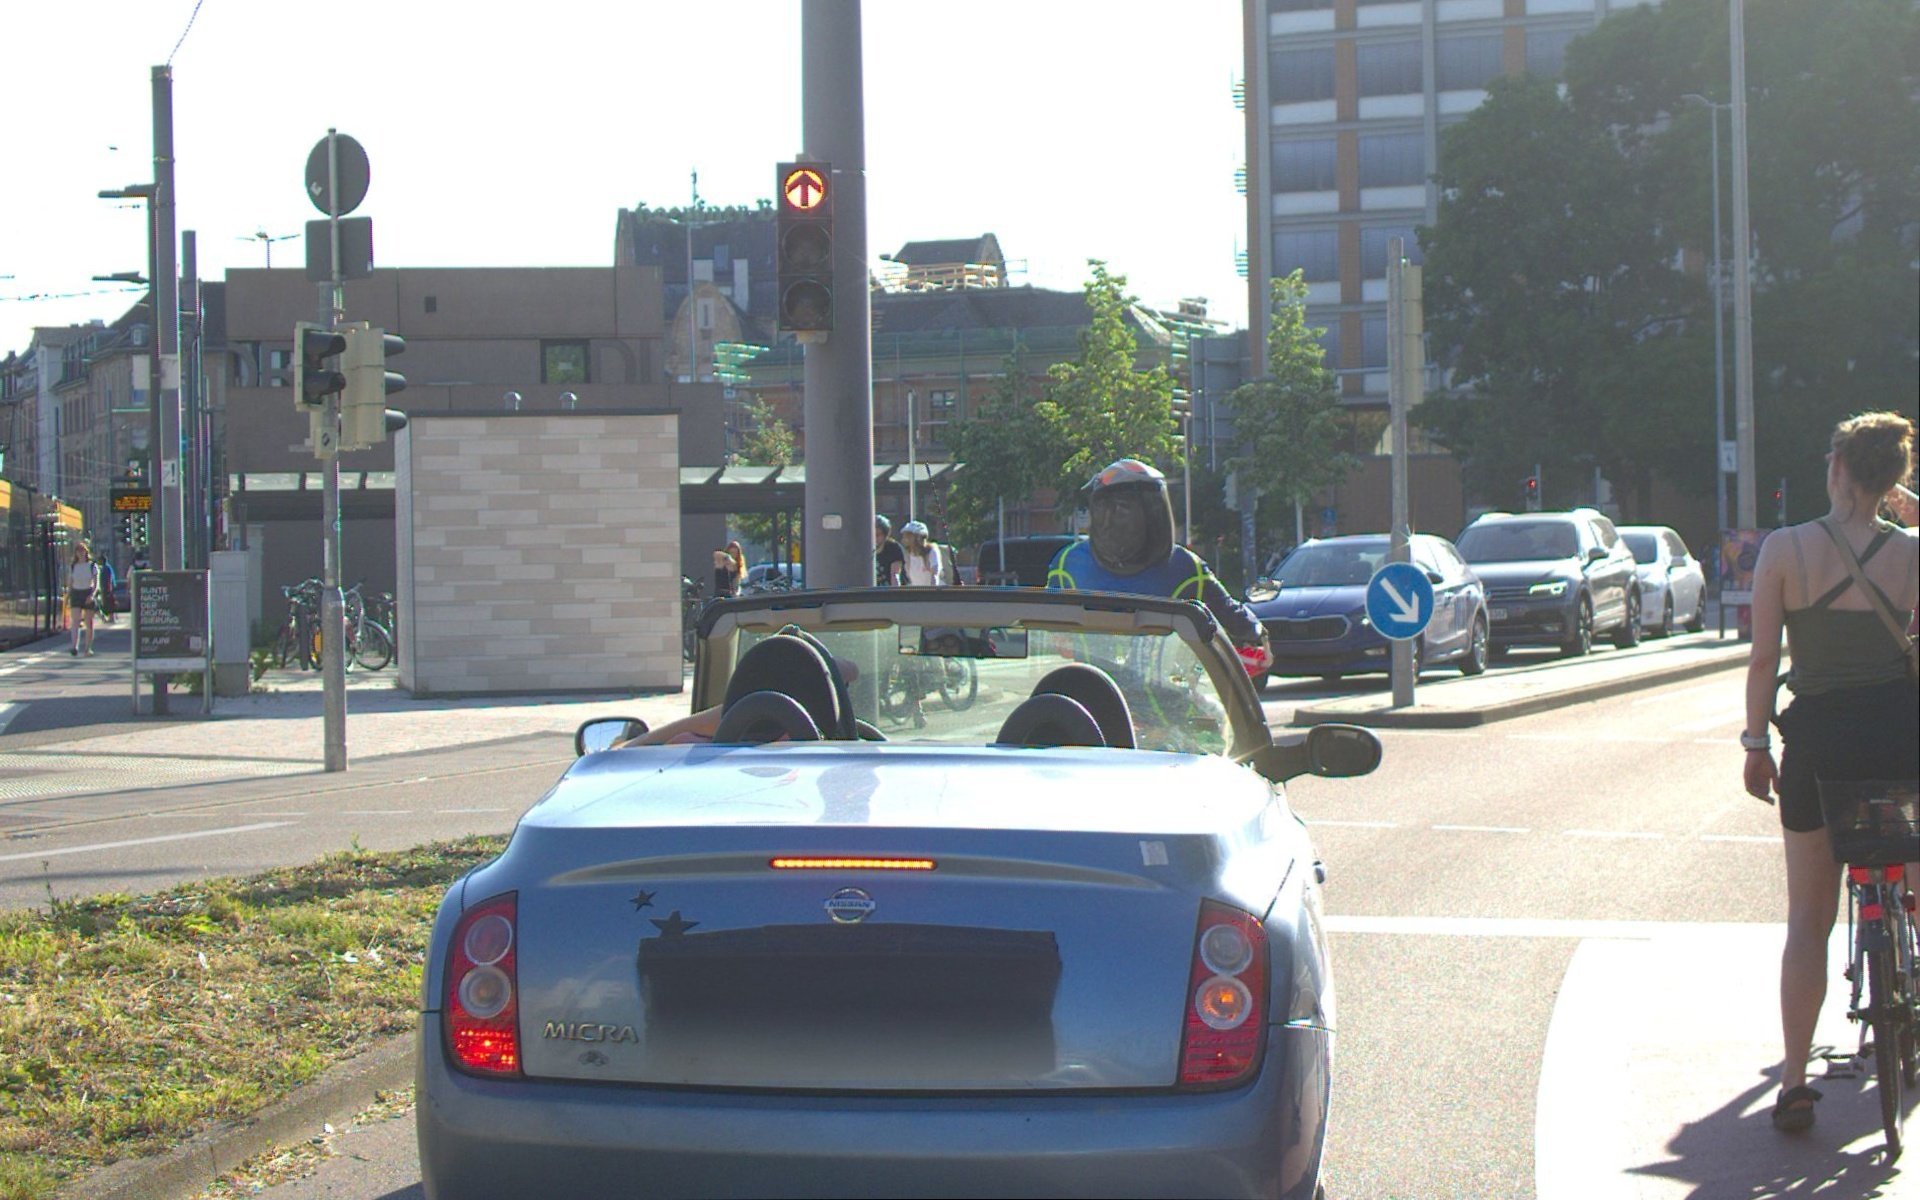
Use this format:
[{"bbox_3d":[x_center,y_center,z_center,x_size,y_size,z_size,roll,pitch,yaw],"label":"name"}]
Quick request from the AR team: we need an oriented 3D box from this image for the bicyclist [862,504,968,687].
[{"bbox_3d":[-0.408,-0.045,31.487,0.709,1.651,0.742,-1,1,22],"label":"bicyclist"}]

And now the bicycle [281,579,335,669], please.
[{"bbox_3d":[-8.365,0.301,44.069,0.606,1.111,1.897,1,1,-12],"label":"bicycle"}]

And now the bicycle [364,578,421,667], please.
[{"bbox_3d":[-7.339,0.278,44.400,0.606,1.111,1.897,1,1,-12],"label":"bicycle"}]

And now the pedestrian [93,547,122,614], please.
[{"bbox_3d":[-22.295,-0.513,89.925,0.604,1.743,0.832,-1,1,-8],"label":"pedestrian"}]

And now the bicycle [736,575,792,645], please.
[{"bbox_3d":[-3.246,0.158,56.748,0.606,1.111,1.897,1,1,-12],"label":"bicycle"}]

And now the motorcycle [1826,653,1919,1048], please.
[{"bbox_3d":[3.173,0.746,11.079,0.614,1.094,2.358,1,1,17],"label":"motorcycle"}]

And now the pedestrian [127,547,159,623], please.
[{"bbox_3d":[-19.073,-0.352,80.244,0.637,1.743,0.736,-1,1,-19],"label":"pedestrian"}]

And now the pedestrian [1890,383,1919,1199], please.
[{"bbox_3d":[2.489,0.457,7.396,0.806,1.862,0.956,1,0,8],"label":"pedestrian"}]

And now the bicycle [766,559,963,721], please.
[{"bbox_3d":[-0.773,0.314,28.851,0.675,1.246,2.454,-3,0,22],"label":"bicycle"}]

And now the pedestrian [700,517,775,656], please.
[{"bbox_3d":[-3.034,-0.184,46.760,0.900,1.862,0.687,1,0,-12],"label":"pedestrian"}]

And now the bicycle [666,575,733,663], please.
[{"bbox_3d":[-3.430,0.237,45.122,0.606,1.111,1.897,1,1,-12],"label":"bicycle"}]

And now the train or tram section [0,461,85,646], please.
[{"bbox_3d":[-20.508,-0.991,72.669,3.011,3.584,12.203,1,1,-10],"label":"train or tram section"}]

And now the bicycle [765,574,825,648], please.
[{"bbox_3d":[-2.561,0.163,53.242,0.606,1.111,1.897,1,1,-12],"label":"bicycle"}]

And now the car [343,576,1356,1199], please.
[{"bbox_3d":[0.033,0.678,7.692,1.660,1.436,4.153,1,1,6],"label":"car"}]

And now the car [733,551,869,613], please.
[{"bbox_3d":[-4.121,-0.456,88.687,1.640,1.555,3.599,-2,1,-39],"label":"car"}]

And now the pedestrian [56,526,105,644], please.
[{"bbox_3d":[-13.195,-0.231,51.564,0.637,1.743,0.572,-1,1,-19],"label":"pedestrian"}]

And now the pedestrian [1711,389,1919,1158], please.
[{"bbox_3d":[2.287,0.415,8.783,0.659,1.862,0.872,1,0,15],"label":"pedestrian"}]

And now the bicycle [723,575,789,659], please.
[{"bbox_3d":[-2.807,0.225,47.195,0.606,1.111,1.897,1,1,-12],"label":"bicycle"}]

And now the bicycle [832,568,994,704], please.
[{"bbox_3d":[-0.407,0.311,31.465,0.675,1.176,2.181,-1,1,22],"label":"bicycle"}]

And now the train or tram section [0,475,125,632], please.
[{"bbox_3d":[-22.576,-1.139,84.596,3.039,3.584,12.055,1,1,-9],"label":"train or tram section"}]

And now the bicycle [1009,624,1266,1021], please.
[{"bbox_3d":[0.658,0.700,11.901,0.608,1.187,2.414,1,1,9],"label":"bicycle"}]

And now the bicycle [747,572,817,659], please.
[{"bbox_3d":[-2.356,0.192,45.263,0.606,1.111,1.897,1,1,-12],"label":"bicycle"}]

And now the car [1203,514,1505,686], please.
[{"bbox_3d":[3.915,-0.013,33.632,1.739,1.568,3.919,1,1,25],"label":"car"}]

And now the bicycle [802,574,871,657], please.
[{"bbox_3d":[-1.720,0.204,47.583,0.606,1.111,1.897,1,1,-12],"label":"bicycle"}]

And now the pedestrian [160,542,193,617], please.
[{"bbox_3d":[-18.446,-0.482,80.912,0.637,1.743,0.736,-1,1,-19],"label":"pedestrian"}]

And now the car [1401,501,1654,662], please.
[{"bbox_3d":[6.623,-0.241,39.747,1.763,1.700,4.525,-2,0,24],"label":"car"}]

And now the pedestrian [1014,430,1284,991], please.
[{"bbox_3d":[0.673,0.361,11.964,0.833,1.862,0.920,1,0,8],"label":"pedestrian"}]

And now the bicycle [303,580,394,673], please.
[{"bbox_3d":[-7.545,0.318,42.465,0.607,1.111,1.896,1,1,5],"label":"bicycle"}]

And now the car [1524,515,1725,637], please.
[{"bbox_3d":[9.001,-0.346,46.329,1.697,1.555,3.974,-1,1,25],"label":"car"}]

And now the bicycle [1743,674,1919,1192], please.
[{"bbox_3d":[2.368,0.798,8.976,0.564,1.147,1.948,1,1,14],"label":"bicycle"}]

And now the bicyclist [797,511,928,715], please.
[{"bbox_3d":[-0.813,0.099,28.780,0.709,1.651,0.900,-3,0,22],"label":"bicyclist"}]

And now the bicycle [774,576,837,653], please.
[{"bbox_3d":[-2.312,0.208,51.271,0.606,1.111,1.897,1,1,-12],"label":"bicycle"}]

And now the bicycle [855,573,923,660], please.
[{"bbox_3d":[-0.946,0.208,45.566,0.606,1.111,1.897,1,1,-10],"label":"bicycle"}]

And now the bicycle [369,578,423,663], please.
[{"bbox_3d":[-7.628,0.267,46.463,0.606,1.111,1.897,1,1,-12],"label":"bicycle"}]

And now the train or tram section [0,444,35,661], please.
[{"bbox_3d":[-18.166,-0.851,60.679,2.880,3.584,12.203,1,1,-12],"label":"train or tram section"}]

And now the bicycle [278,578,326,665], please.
[{"bbox_3d":[-8.799,0.276,45.994,0.606,1.111,1.897,1,1,-11],"label":"bicycle"}]

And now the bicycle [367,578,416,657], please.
[{"bbox_3d":[-8.330,0.245,50.338,0.606,1.111,1.897,1,1,-12],"label":"bicycle"}]

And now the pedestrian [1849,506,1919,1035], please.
[{"bbox_3d":[3.133,0.512,10.813,0.588,1.593,1.024,1,0,17],"label":"pedestrian"}]

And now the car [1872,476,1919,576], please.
[{"bbox_3d":[20.542,-1.511,69.008,4.692,1.938,1.914,-2,1,-40],"label":"car"}]
